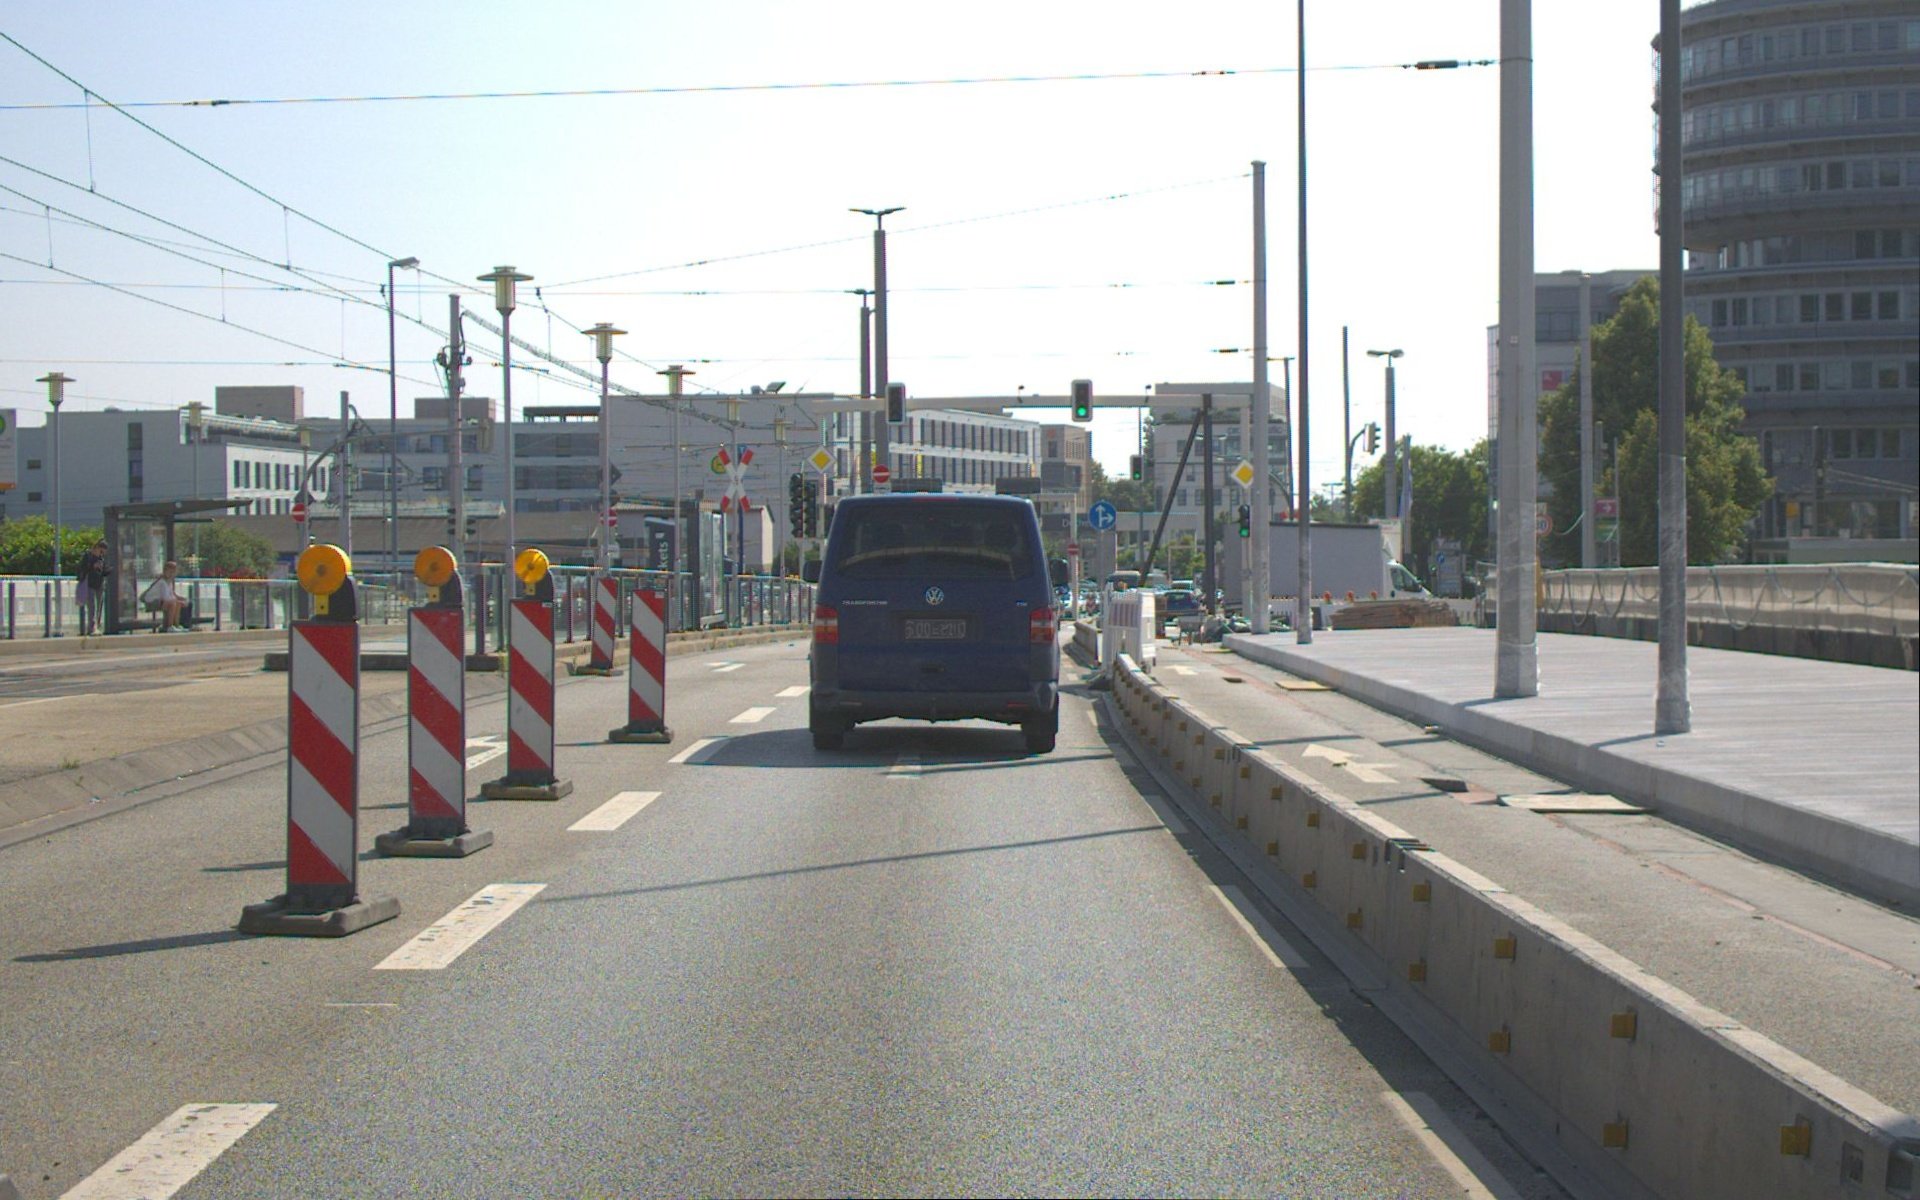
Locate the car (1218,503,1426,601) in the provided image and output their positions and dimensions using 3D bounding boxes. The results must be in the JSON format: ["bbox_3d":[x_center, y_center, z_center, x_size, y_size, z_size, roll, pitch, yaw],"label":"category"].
[{"bbox_3d":[11.098,-1.459,105.363,5.949,2.877,2.347,0,2,-26],"label":"car"}]

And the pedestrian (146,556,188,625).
[{"bbox_3d":[-14.669,-0.171,63.628,0.648,1.269,0.453,0,0,5],"label":"pedestrian"}]

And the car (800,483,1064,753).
[{"bbox_3d":[-0.205,0.087,27.151,1.888,1.927,4.000,1,1,0],"label":"car"}]

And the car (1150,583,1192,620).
[{"bbox_3d":[8.760,0.052,142.582,1.744,1.470,3.884,0,0,4],"label":"car"}]

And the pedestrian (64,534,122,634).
[{"bbox_3d":[-14.285,-0.268,56.641,0.660,1.649,0.739,0,1,13],"label":"pedestrian"}]

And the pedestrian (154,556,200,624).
[{"bbox_3d":[-14.621,-0.184,64.206,0.648,1.269,0.697,0,0,5],"label":"pedestrian"}]
